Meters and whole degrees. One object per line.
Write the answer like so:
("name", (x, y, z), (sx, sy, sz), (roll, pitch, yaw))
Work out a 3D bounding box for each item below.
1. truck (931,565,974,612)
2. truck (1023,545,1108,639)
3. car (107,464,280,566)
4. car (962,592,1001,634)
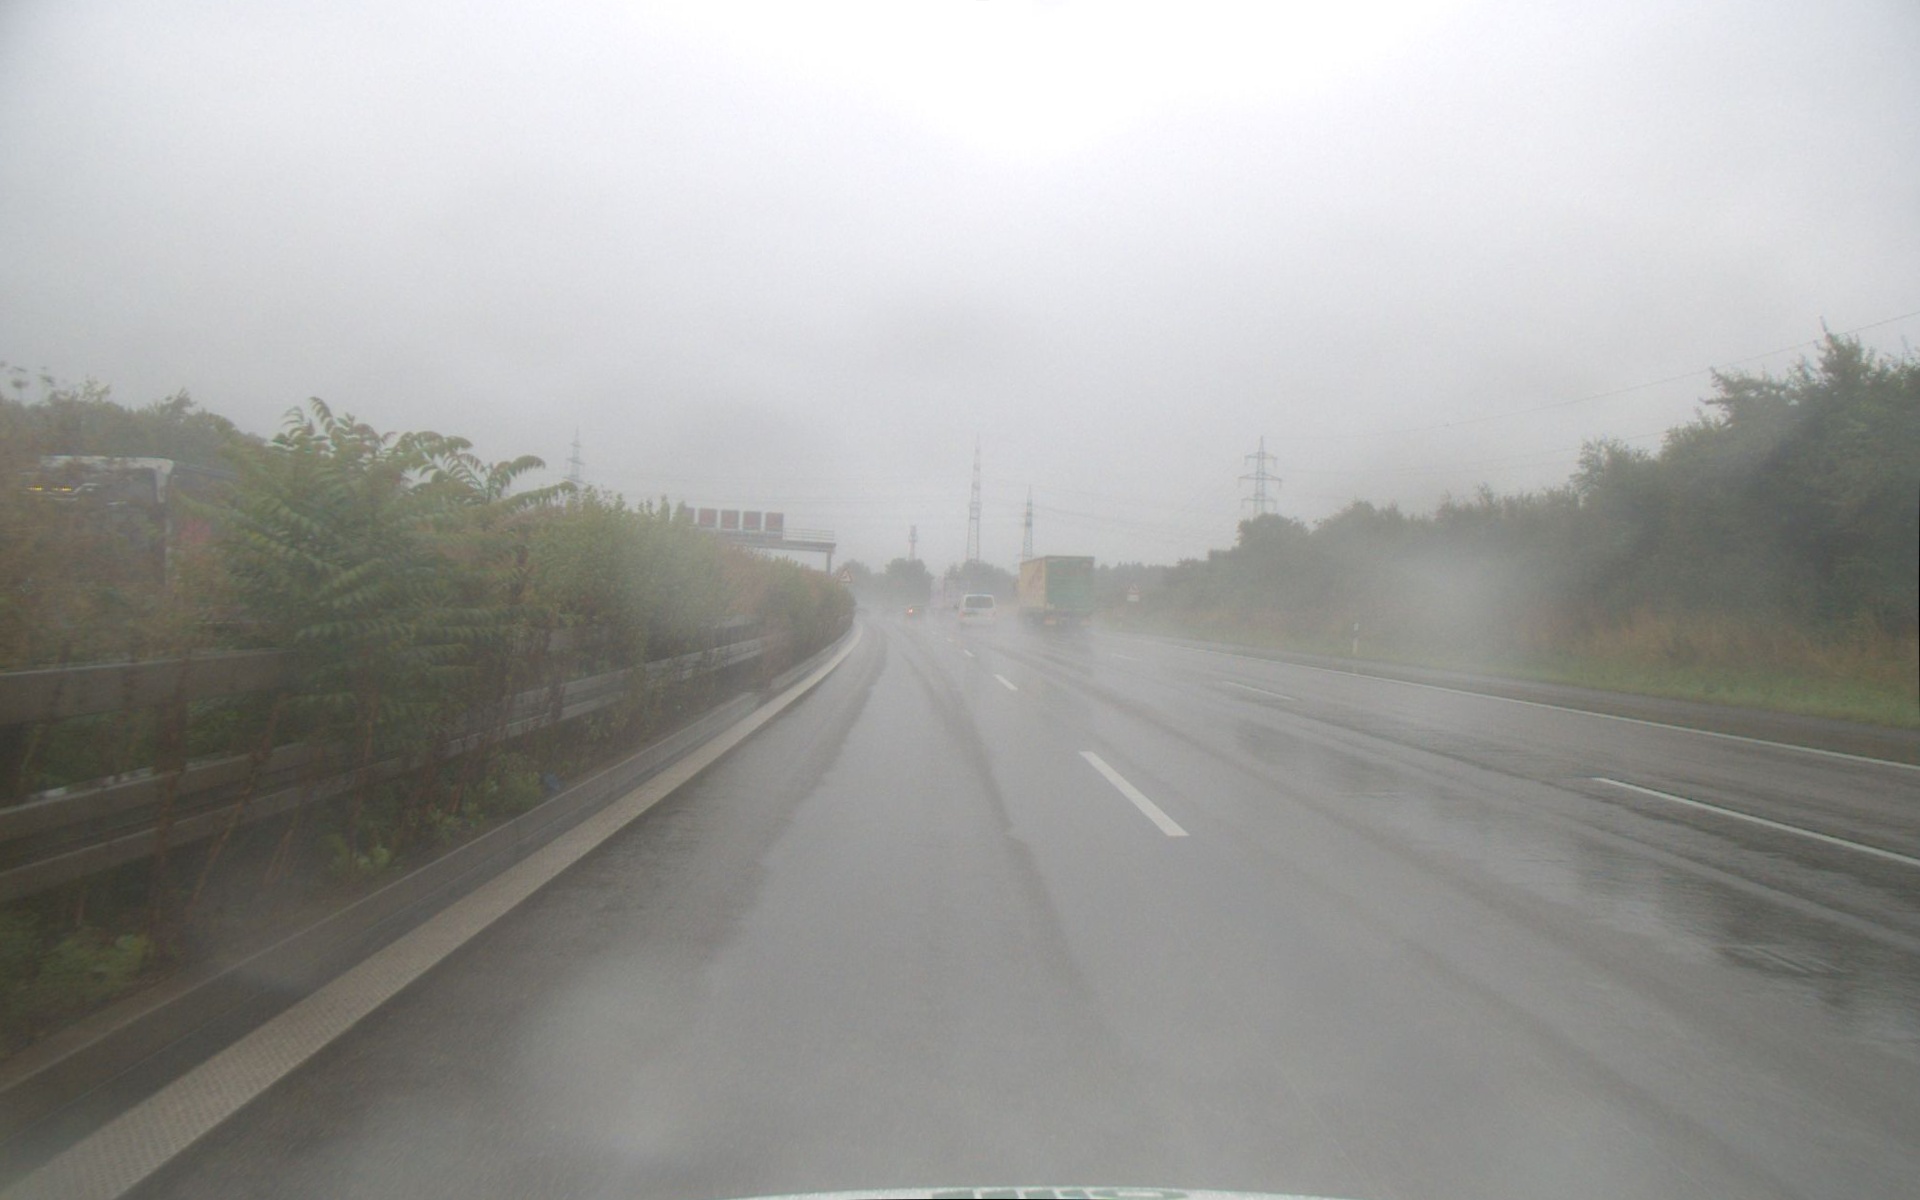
("truck", (-0.787, -1.142, 160.725), (3.171, 4.387, 8.824), (1, 0, -7))
("truck", (5.655, -0.365, 91.775), (4.102, 4.711, 16.108), (1, 0, 2))
("car", (-17.014, -1.836, 36.943), (1.952, 2.049, 4.000), (1, 0, 1))
("car", (1.106, 0.644, 84.452), (1.952, 2.049, 4.001), (1, 0, 1))
